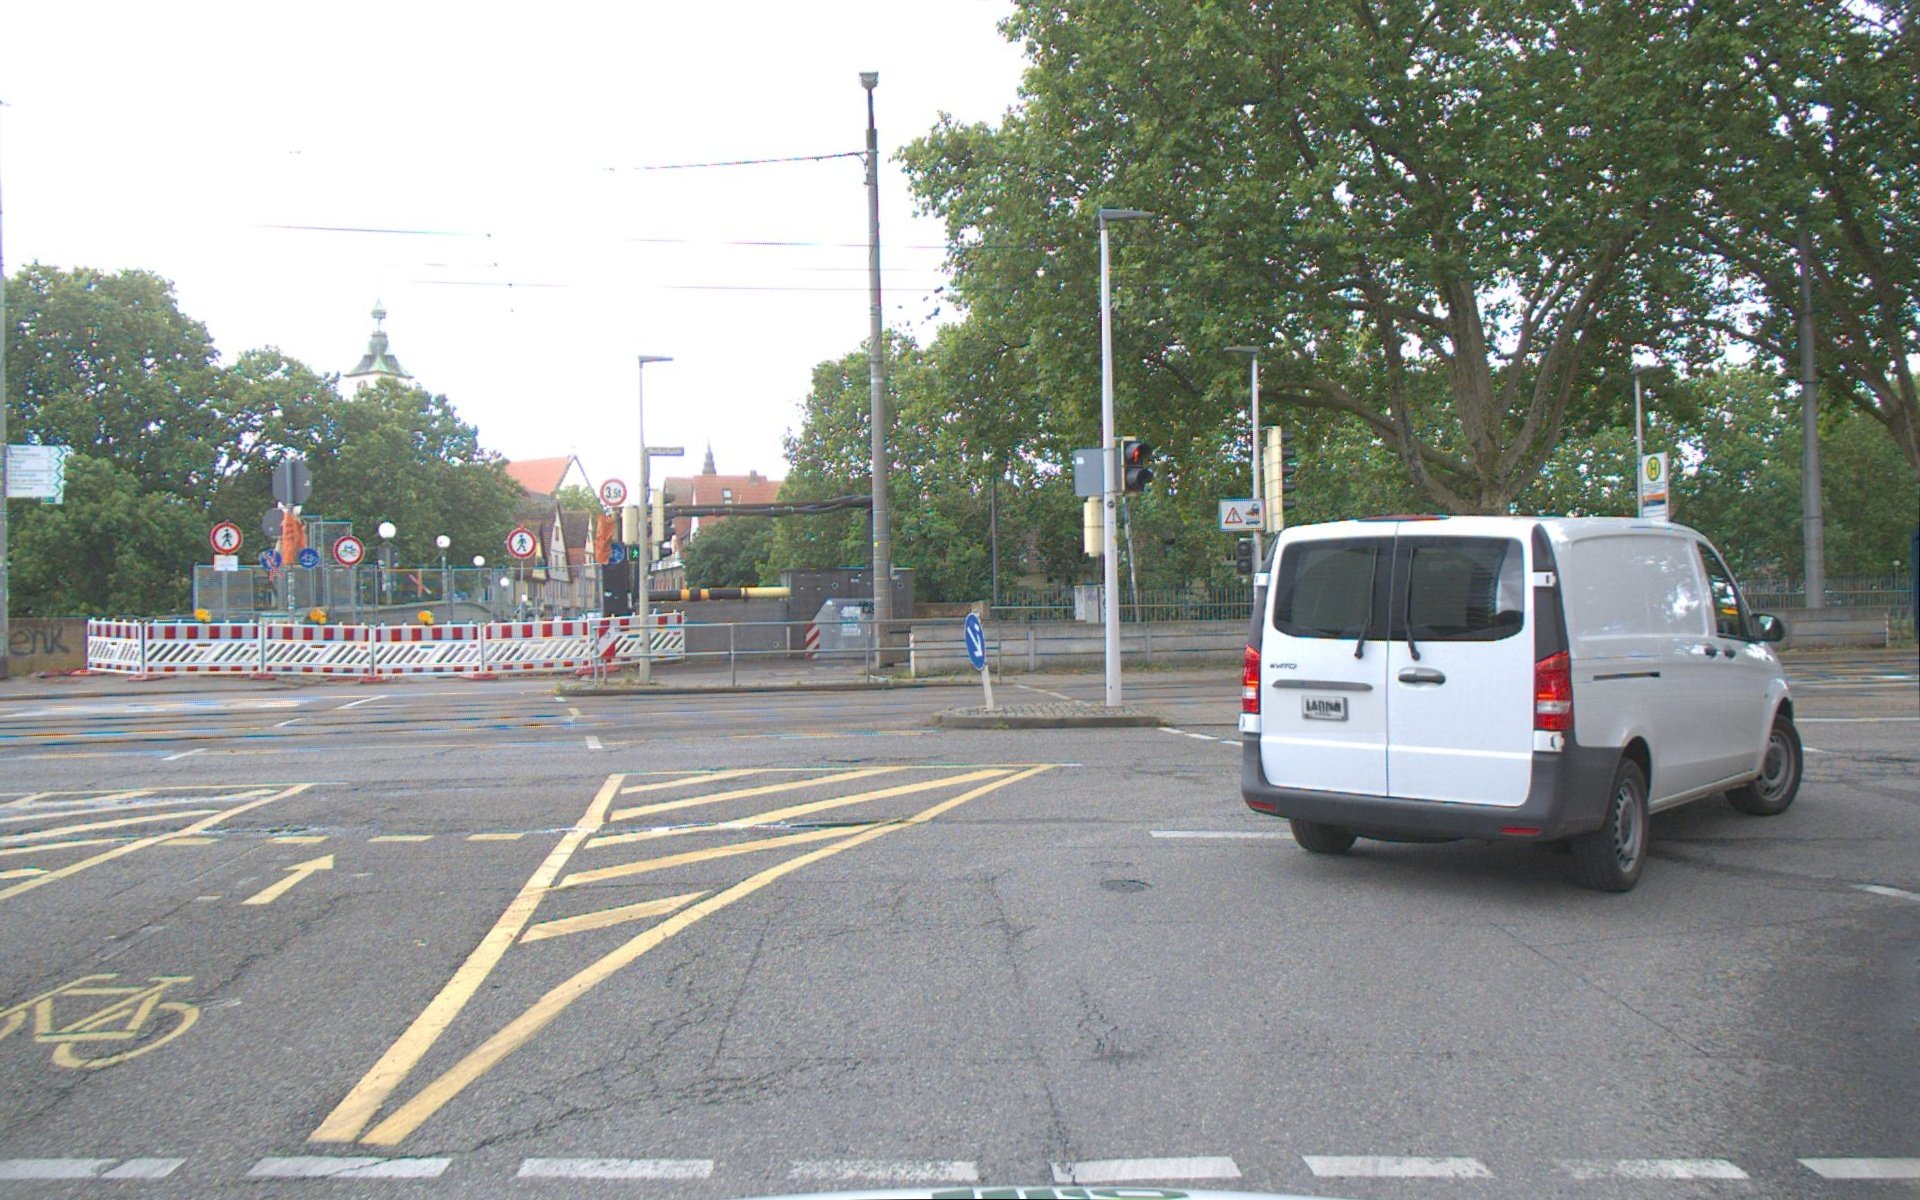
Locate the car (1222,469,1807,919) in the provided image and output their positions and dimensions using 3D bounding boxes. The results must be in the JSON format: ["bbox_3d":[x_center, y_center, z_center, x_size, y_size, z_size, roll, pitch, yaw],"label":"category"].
[{"bbox_3d":[3.563,0.418,9.971,1.920,2.049,4.676,0,0,38],"label":"car"}]
